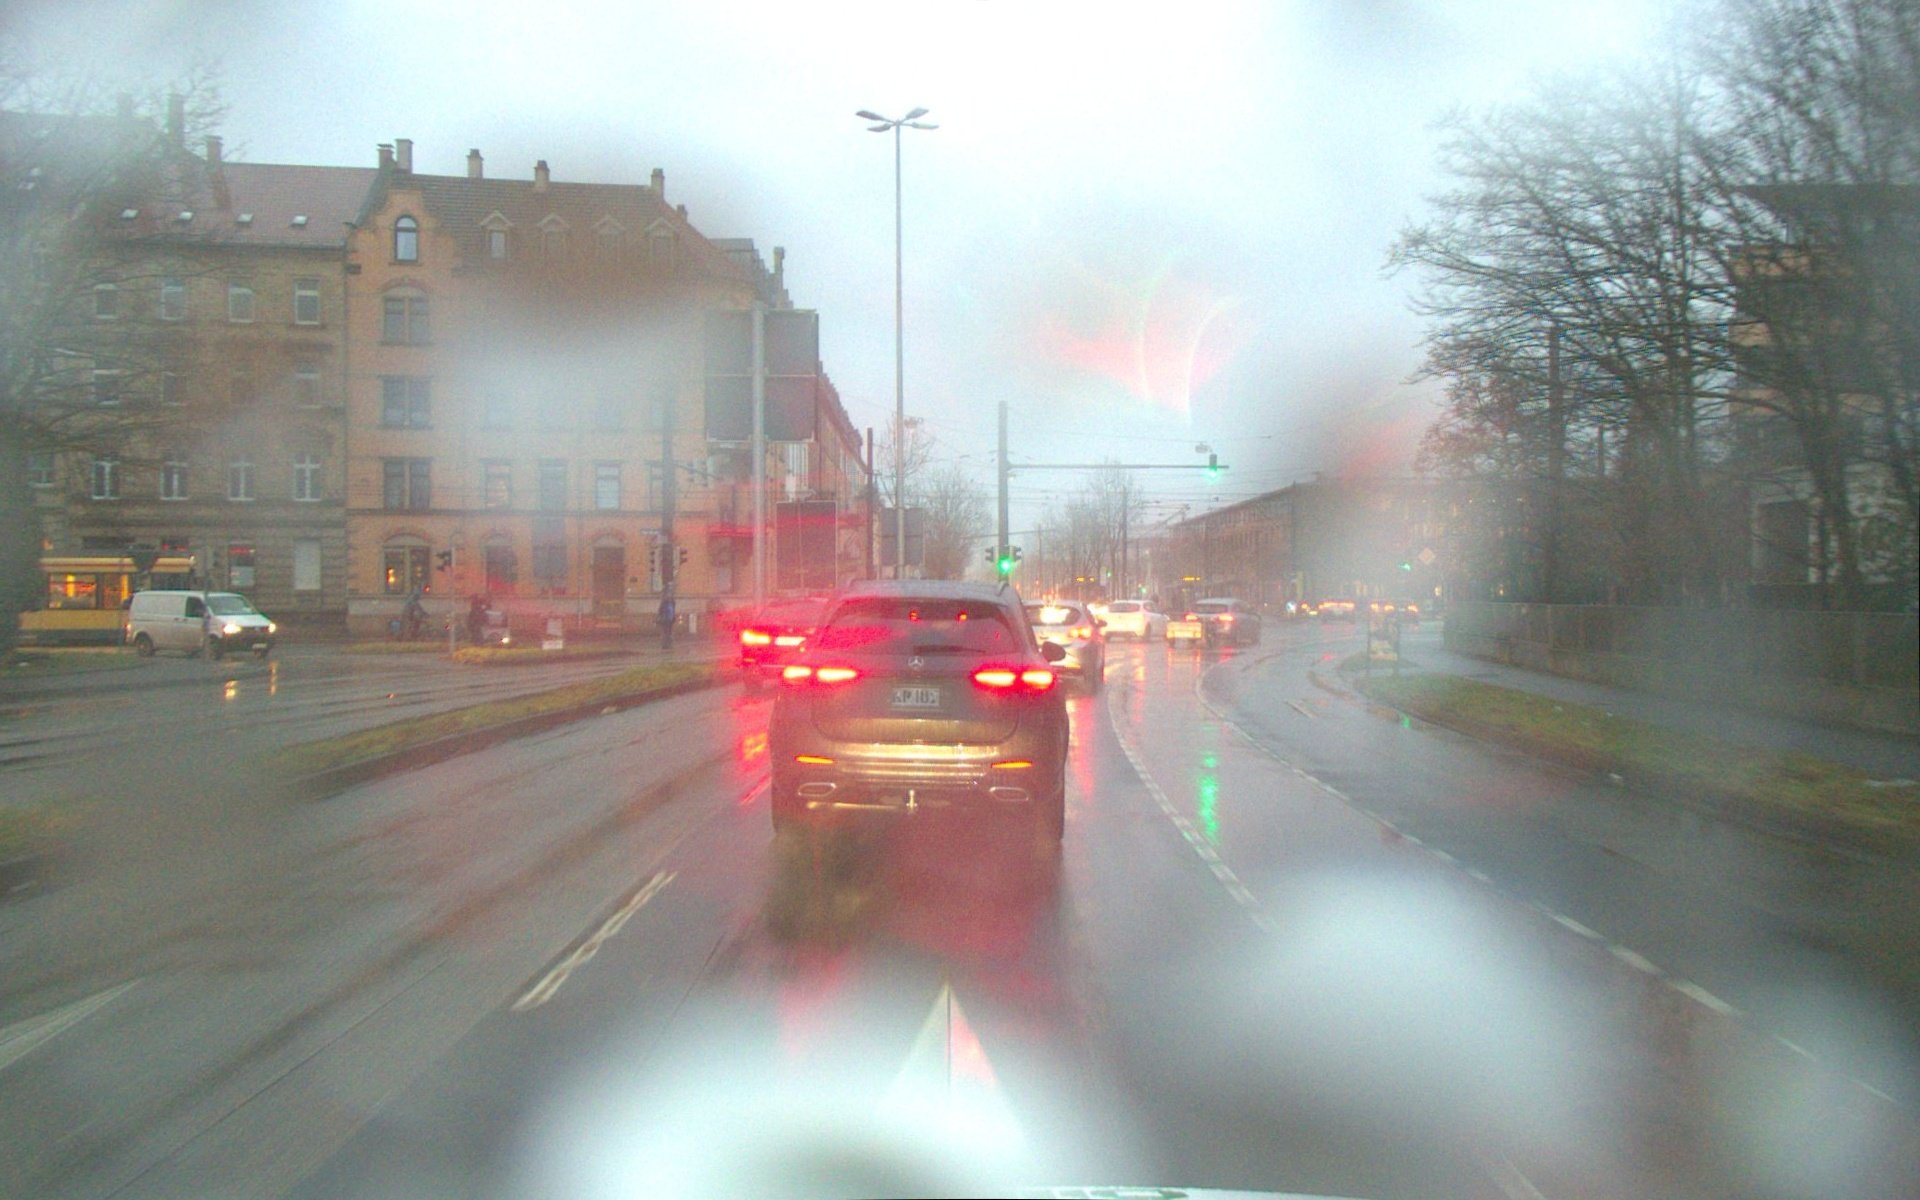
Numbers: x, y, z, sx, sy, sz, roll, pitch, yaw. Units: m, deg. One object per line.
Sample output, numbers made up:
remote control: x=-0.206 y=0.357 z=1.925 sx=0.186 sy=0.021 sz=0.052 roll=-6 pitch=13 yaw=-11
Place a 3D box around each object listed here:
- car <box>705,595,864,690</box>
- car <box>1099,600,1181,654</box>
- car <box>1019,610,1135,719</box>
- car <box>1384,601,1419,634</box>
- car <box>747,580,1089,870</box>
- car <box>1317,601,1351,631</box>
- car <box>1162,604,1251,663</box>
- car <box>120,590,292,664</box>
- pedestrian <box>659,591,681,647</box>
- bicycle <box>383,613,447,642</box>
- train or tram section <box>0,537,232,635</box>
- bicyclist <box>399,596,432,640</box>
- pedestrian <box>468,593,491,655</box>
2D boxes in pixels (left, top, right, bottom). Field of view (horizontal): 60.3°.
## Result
car: x=-2.789 y=0.640 z=27.200 sx=1.952 sy=1.422 sz=4.002 roll=-1 pitch=0 yaw=3
car: x=6.416 y=0.937 z=58.606 sx=1.952 sy=1.796 sz=4.001 roll=-1 pitch=0 yaw=20
car: x=2.125 y=1.111 z=30.079 sx=1.952 sy=1.796 sz=4.002 roll=-1 pitch=0 yaw=4
car: x=23.298 y=0.912 z=87.301 sx=1.708 sy=1.640 sz=4.003 roll=-1 pitch=0 yaw=15
car: x=-0.244 y=0.705 z=11.493 sx=1.950 sy=1.644 sz=4.000 roll=-1 pitch=0 yaw=0
car: x=21.272 y=0.906 z=93.937 sx=1.708 sy=1.640 sz=4.003 roll=-1 pitch=0 yaw=15
car: x=8.129 y=1.074 z=54.242 sx=1.953 sy=1.796 sz=3.999 roll=-1 pitch=0 yaw=22
car: x=-22.616 y=0.803 z=49.612 sx=4.741 sy=1.980 sz=2.000 roll=-3 pitch=0 yaw=23
pedestrian: x=-9.354 y=0.615 z=53.329 sx=0.457 sy=1.803 sz=0.629 roll=0 pitch=0 yaw=20
bicycle: x=-17.868 y=0.889 z=54.241 sx=1.956 sy=0.915 sz=0.501 roll=0 pitch=0 yaw=-29
train or tram section: x=-34.347 y=-0.546 z=57.740 sx=15.961 sy=3.244 sz=3.162 roll=1 pitch=0 yaw=-11
bicyclist: x=-17.862 y=0.594 z=54.242 sx=0.955 sy=1.415 sz=0.502 roll=0 pitch=0 yaw=-29
pedestrian: x=-14.239 y=0.711 z=48.975 sx=0.615 sy=1.823 sz=0.530 roll=0 pitch=0 yaw=-14
